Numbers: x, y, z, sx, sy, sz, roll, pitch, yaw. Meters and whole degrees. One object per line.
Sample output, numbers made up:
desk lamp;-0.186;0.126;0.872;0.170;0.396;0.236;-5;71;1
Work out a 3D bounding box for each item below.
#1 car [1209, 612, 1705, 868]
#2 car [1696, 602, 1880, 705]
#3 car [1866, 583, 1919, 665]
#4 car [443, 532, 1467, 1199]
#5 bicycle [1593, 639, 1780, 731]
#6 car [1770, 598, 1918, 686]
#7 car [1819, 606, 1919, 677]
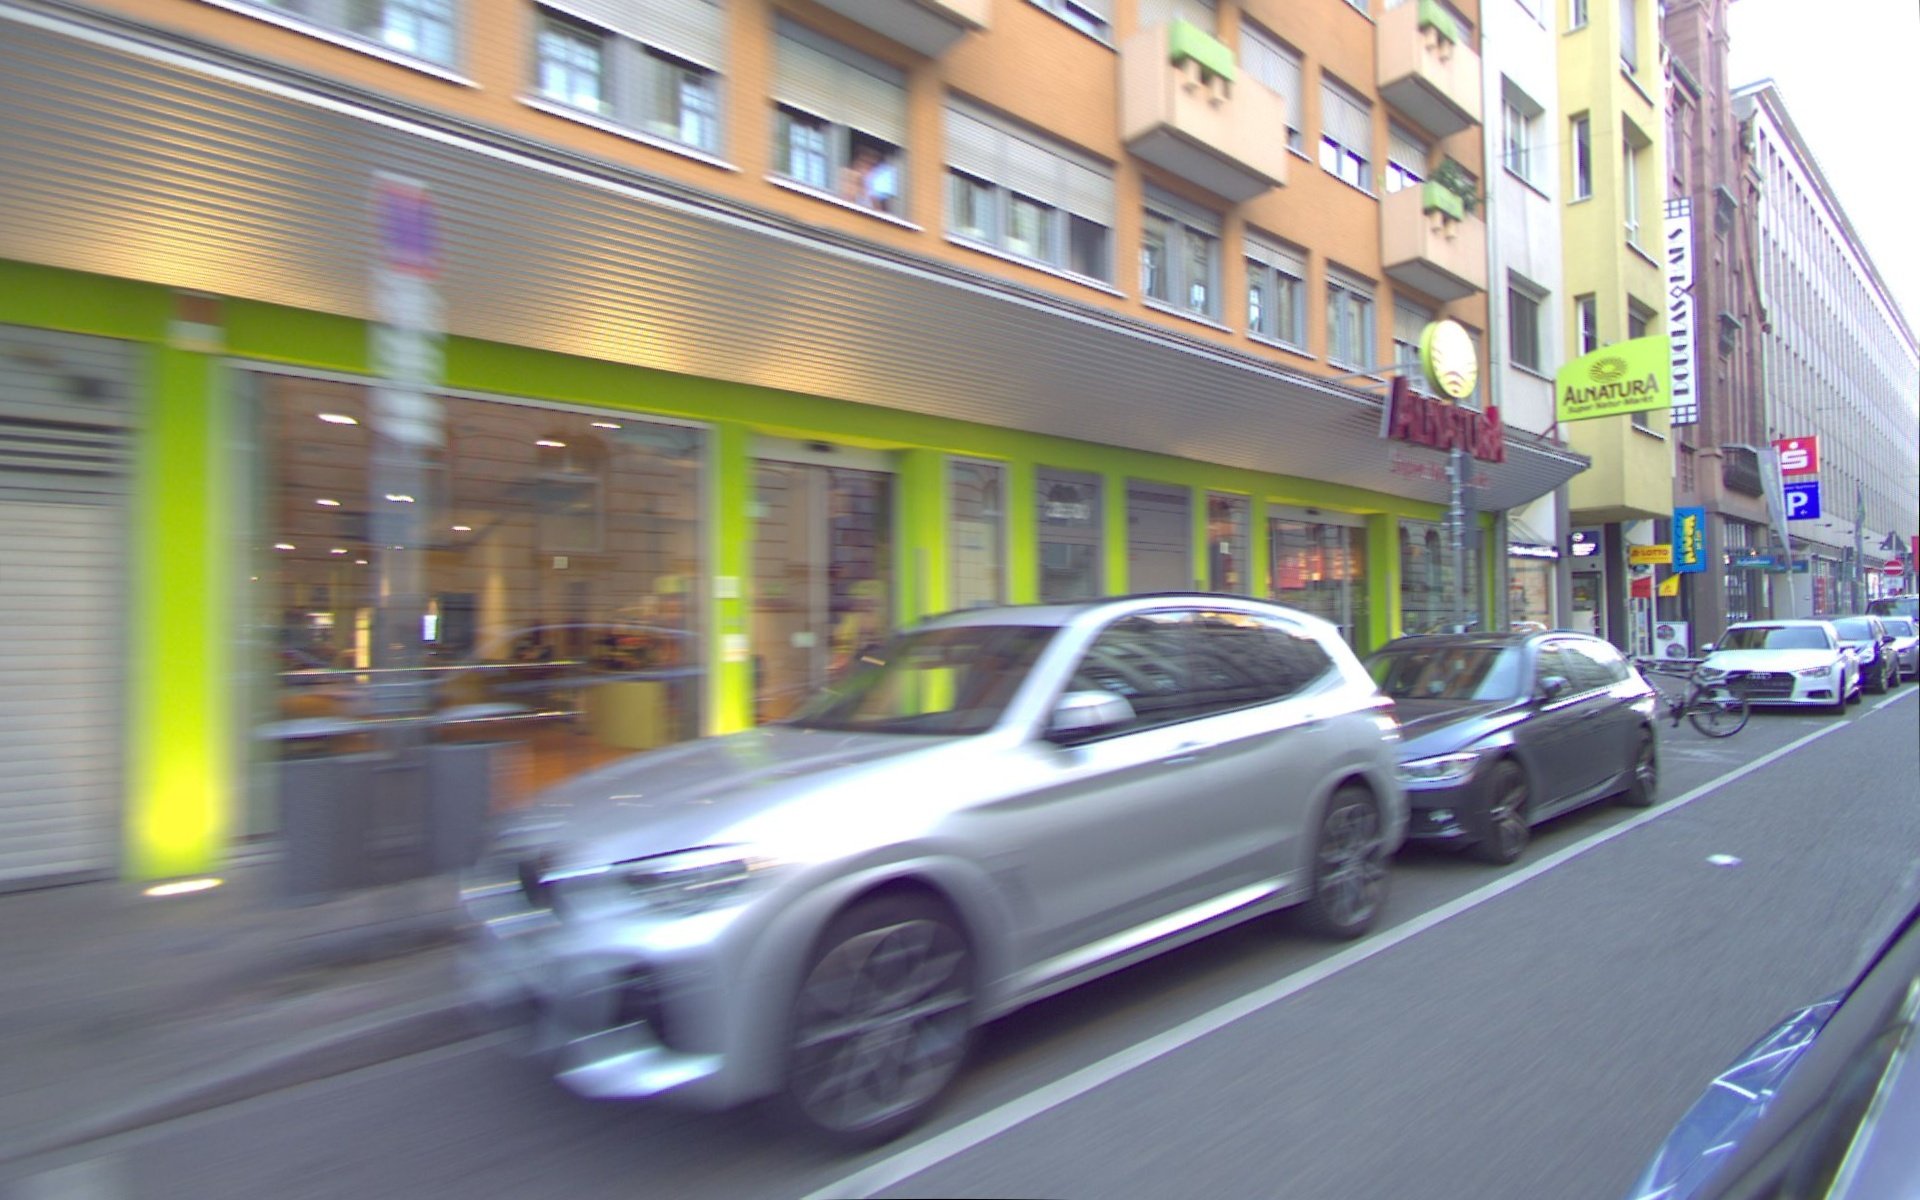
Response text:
car;4.067;0.855;7.869;4.672;1.433;1.694;1;-4;-41
car;13.449;0.821;16.330;4.561;1.430;1.692;1;-4;-44
car;26.319;0.594;27.549;4.967;2.085;1.848;0;-2;-42
car;0.381;0.747;4.669;4.672;1.690;1.754;1;-4;-41
bicycle;8.923;1.035;12.489;1.708;1.069;0.658;-2;-2;8
car;17.257;0.807;19.695;4.102;1.536;1.619;1;-4;-42
car;21.096;0.917;22.933;4.417;1.472;1.689;1;-4;-40
